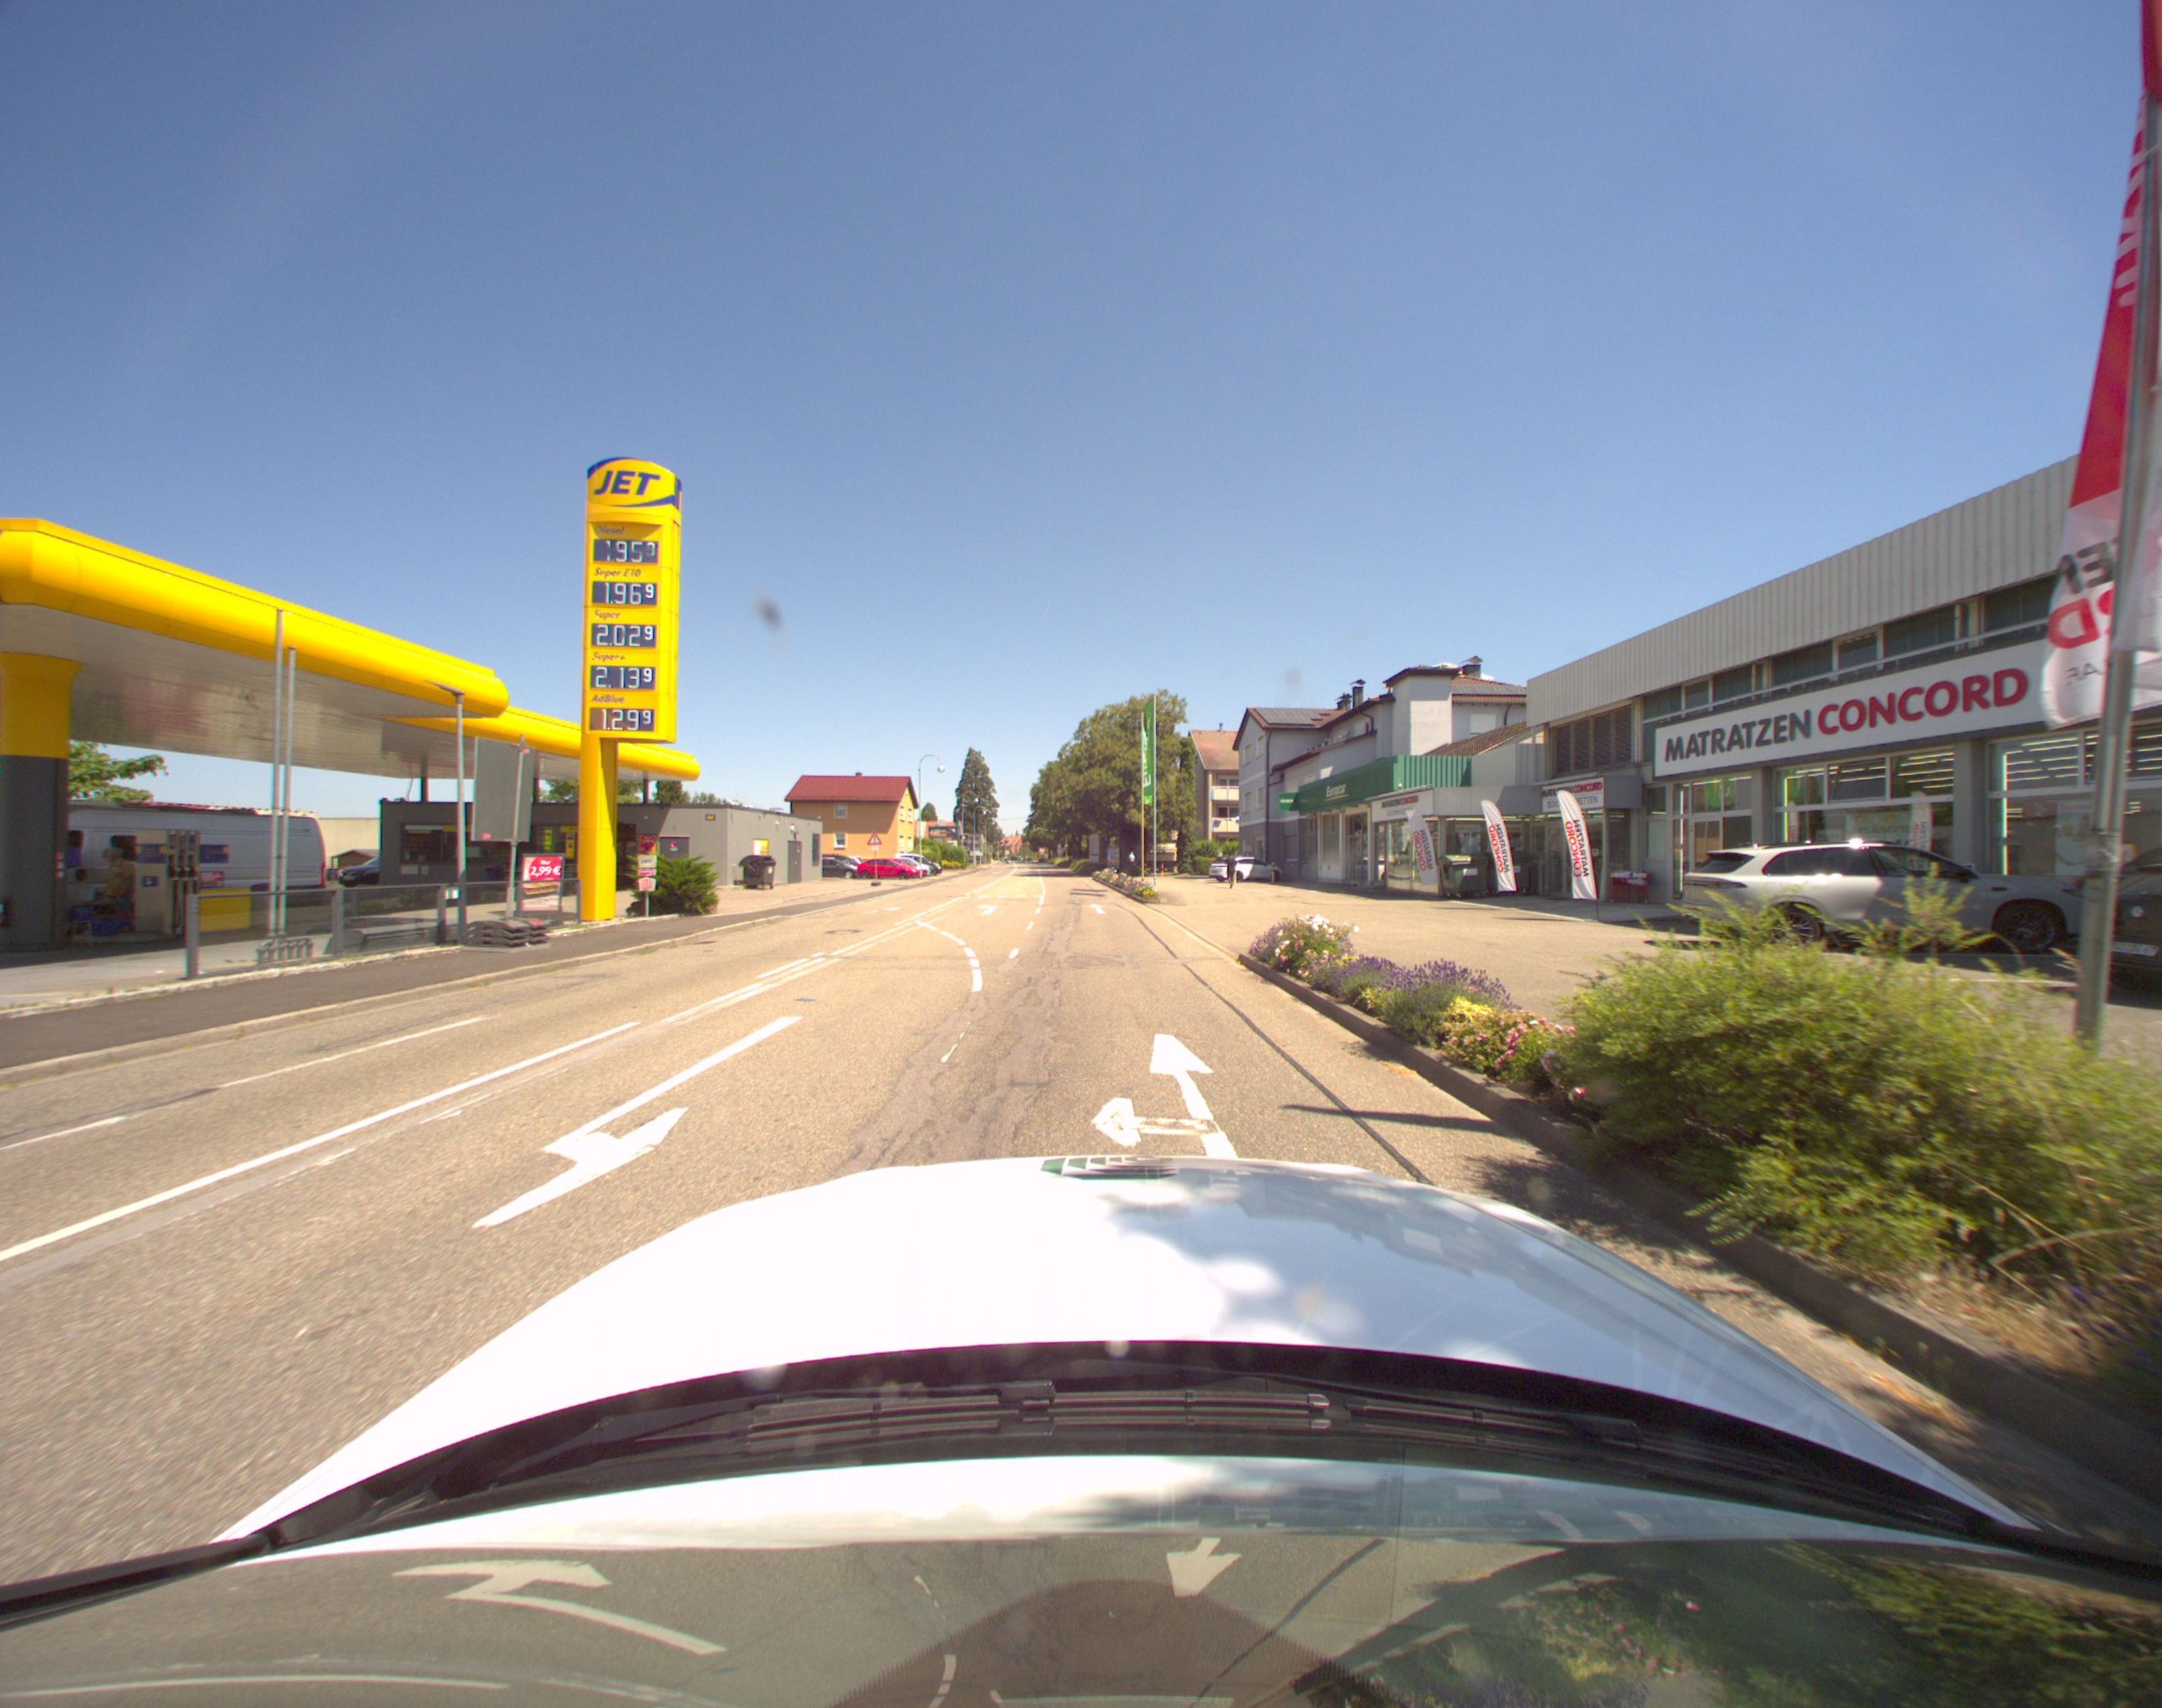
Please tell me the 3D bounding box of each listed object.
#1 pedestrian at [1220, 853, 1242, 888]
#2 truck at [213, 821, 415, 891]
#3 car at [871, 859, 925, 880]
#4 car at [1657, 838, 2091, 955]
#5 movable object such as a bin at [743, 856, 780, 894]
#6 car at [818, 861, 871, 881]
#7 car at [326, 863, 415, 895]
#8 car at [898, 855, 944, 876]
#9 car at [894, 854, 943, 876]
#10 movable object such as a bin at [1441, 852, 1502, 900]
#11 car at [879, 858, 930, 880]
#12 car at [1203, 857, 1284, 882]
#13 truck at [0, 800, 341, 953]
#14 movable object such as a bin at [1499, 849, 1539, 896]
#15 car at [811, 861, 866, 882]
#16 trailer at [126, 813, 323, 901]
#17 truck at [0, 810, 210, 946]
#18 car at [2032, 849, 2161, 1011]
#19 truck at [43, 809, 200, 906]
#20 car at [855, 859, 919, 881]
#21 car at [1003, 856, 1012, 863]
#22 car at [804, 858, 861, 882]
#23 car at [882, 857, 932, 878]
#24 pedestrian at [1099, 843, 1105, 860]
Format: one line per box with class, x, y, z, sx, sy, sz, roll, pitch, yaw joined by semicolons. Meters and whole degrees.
pedestrian;7.016;0.765;38.136;0.837;1.641;1.010;-1;-1;1
truck;-39.076;0.089;41.667;7.855;3.426;2.152;0;-1;-4
car;-13.526;1.140;60.292;3.658;1.457;1.889;0;-1;-6
car;12.235;0.632;12.997;4.546;1.642;2.008;-1;-1;16
movable object such as a bin;-13.534;0.880;34.536;0.950;1.517;1.427;4;1;-2
car;-18.361;1.320;63.372;3.658;1.457;1.889;0;-1;-6
car;-30.126;1.027;34.629;1.296;1.309;3.005;0;0;-5
car;-13.548;0.979;69.247;3.658;1.672;1.919;0;-1;-6
car;-14.194;0.977;71.336;4.091;1.898;1.995;0;-1;-8
movable object such as a bin;12.549;0.701;26.205;1.556;1.422;0.703;-3;0;4
car;-13.553;1.129;62.703;3.658;1.605;1.878;0;-1;-6
car;9.408;0.886;47.098;4.366;1.371;1.939;0;-1;-26
truck;-19.239;0.400;16.330;2.223;2.598;6.741;-1;0;5
movable object such as a bin;14.041;0.588;26.114;0.849;1.445;0.703;-3;-1;4
car;-18.257;1.305;61.351;3.658;1.457;1.889;0;-1;-6
trailer;-34.302;0.093;32.969;1.860;3.219;5.908;0;0;-2
truck;-24.361;0.526;17.790;2.618;2.913;6.763;-1;0;18
car;12.295;0.694;7.809;3.826;1.533;1.685;-1;-1;15
truck;-34.149;0.099;29.120;1.841;3.242;3.187;0;1;-3
car;-13.689;1.118;57.720;4.117;1.444;1.824;0;-1;-4
car;-16.562;1.226;183.453;1.706;1.495;4.272;0;0;-4
car;-18.056;1.175;59.358;3.659;1.709;1.889;0;-1;-6
car;-13.806;1.072;64.877;3.658;1.581;1.919;0;-1;-6
pedestrian;2.420;-0.301;93.636;0.701;1.914;0.660;-1;0;0
